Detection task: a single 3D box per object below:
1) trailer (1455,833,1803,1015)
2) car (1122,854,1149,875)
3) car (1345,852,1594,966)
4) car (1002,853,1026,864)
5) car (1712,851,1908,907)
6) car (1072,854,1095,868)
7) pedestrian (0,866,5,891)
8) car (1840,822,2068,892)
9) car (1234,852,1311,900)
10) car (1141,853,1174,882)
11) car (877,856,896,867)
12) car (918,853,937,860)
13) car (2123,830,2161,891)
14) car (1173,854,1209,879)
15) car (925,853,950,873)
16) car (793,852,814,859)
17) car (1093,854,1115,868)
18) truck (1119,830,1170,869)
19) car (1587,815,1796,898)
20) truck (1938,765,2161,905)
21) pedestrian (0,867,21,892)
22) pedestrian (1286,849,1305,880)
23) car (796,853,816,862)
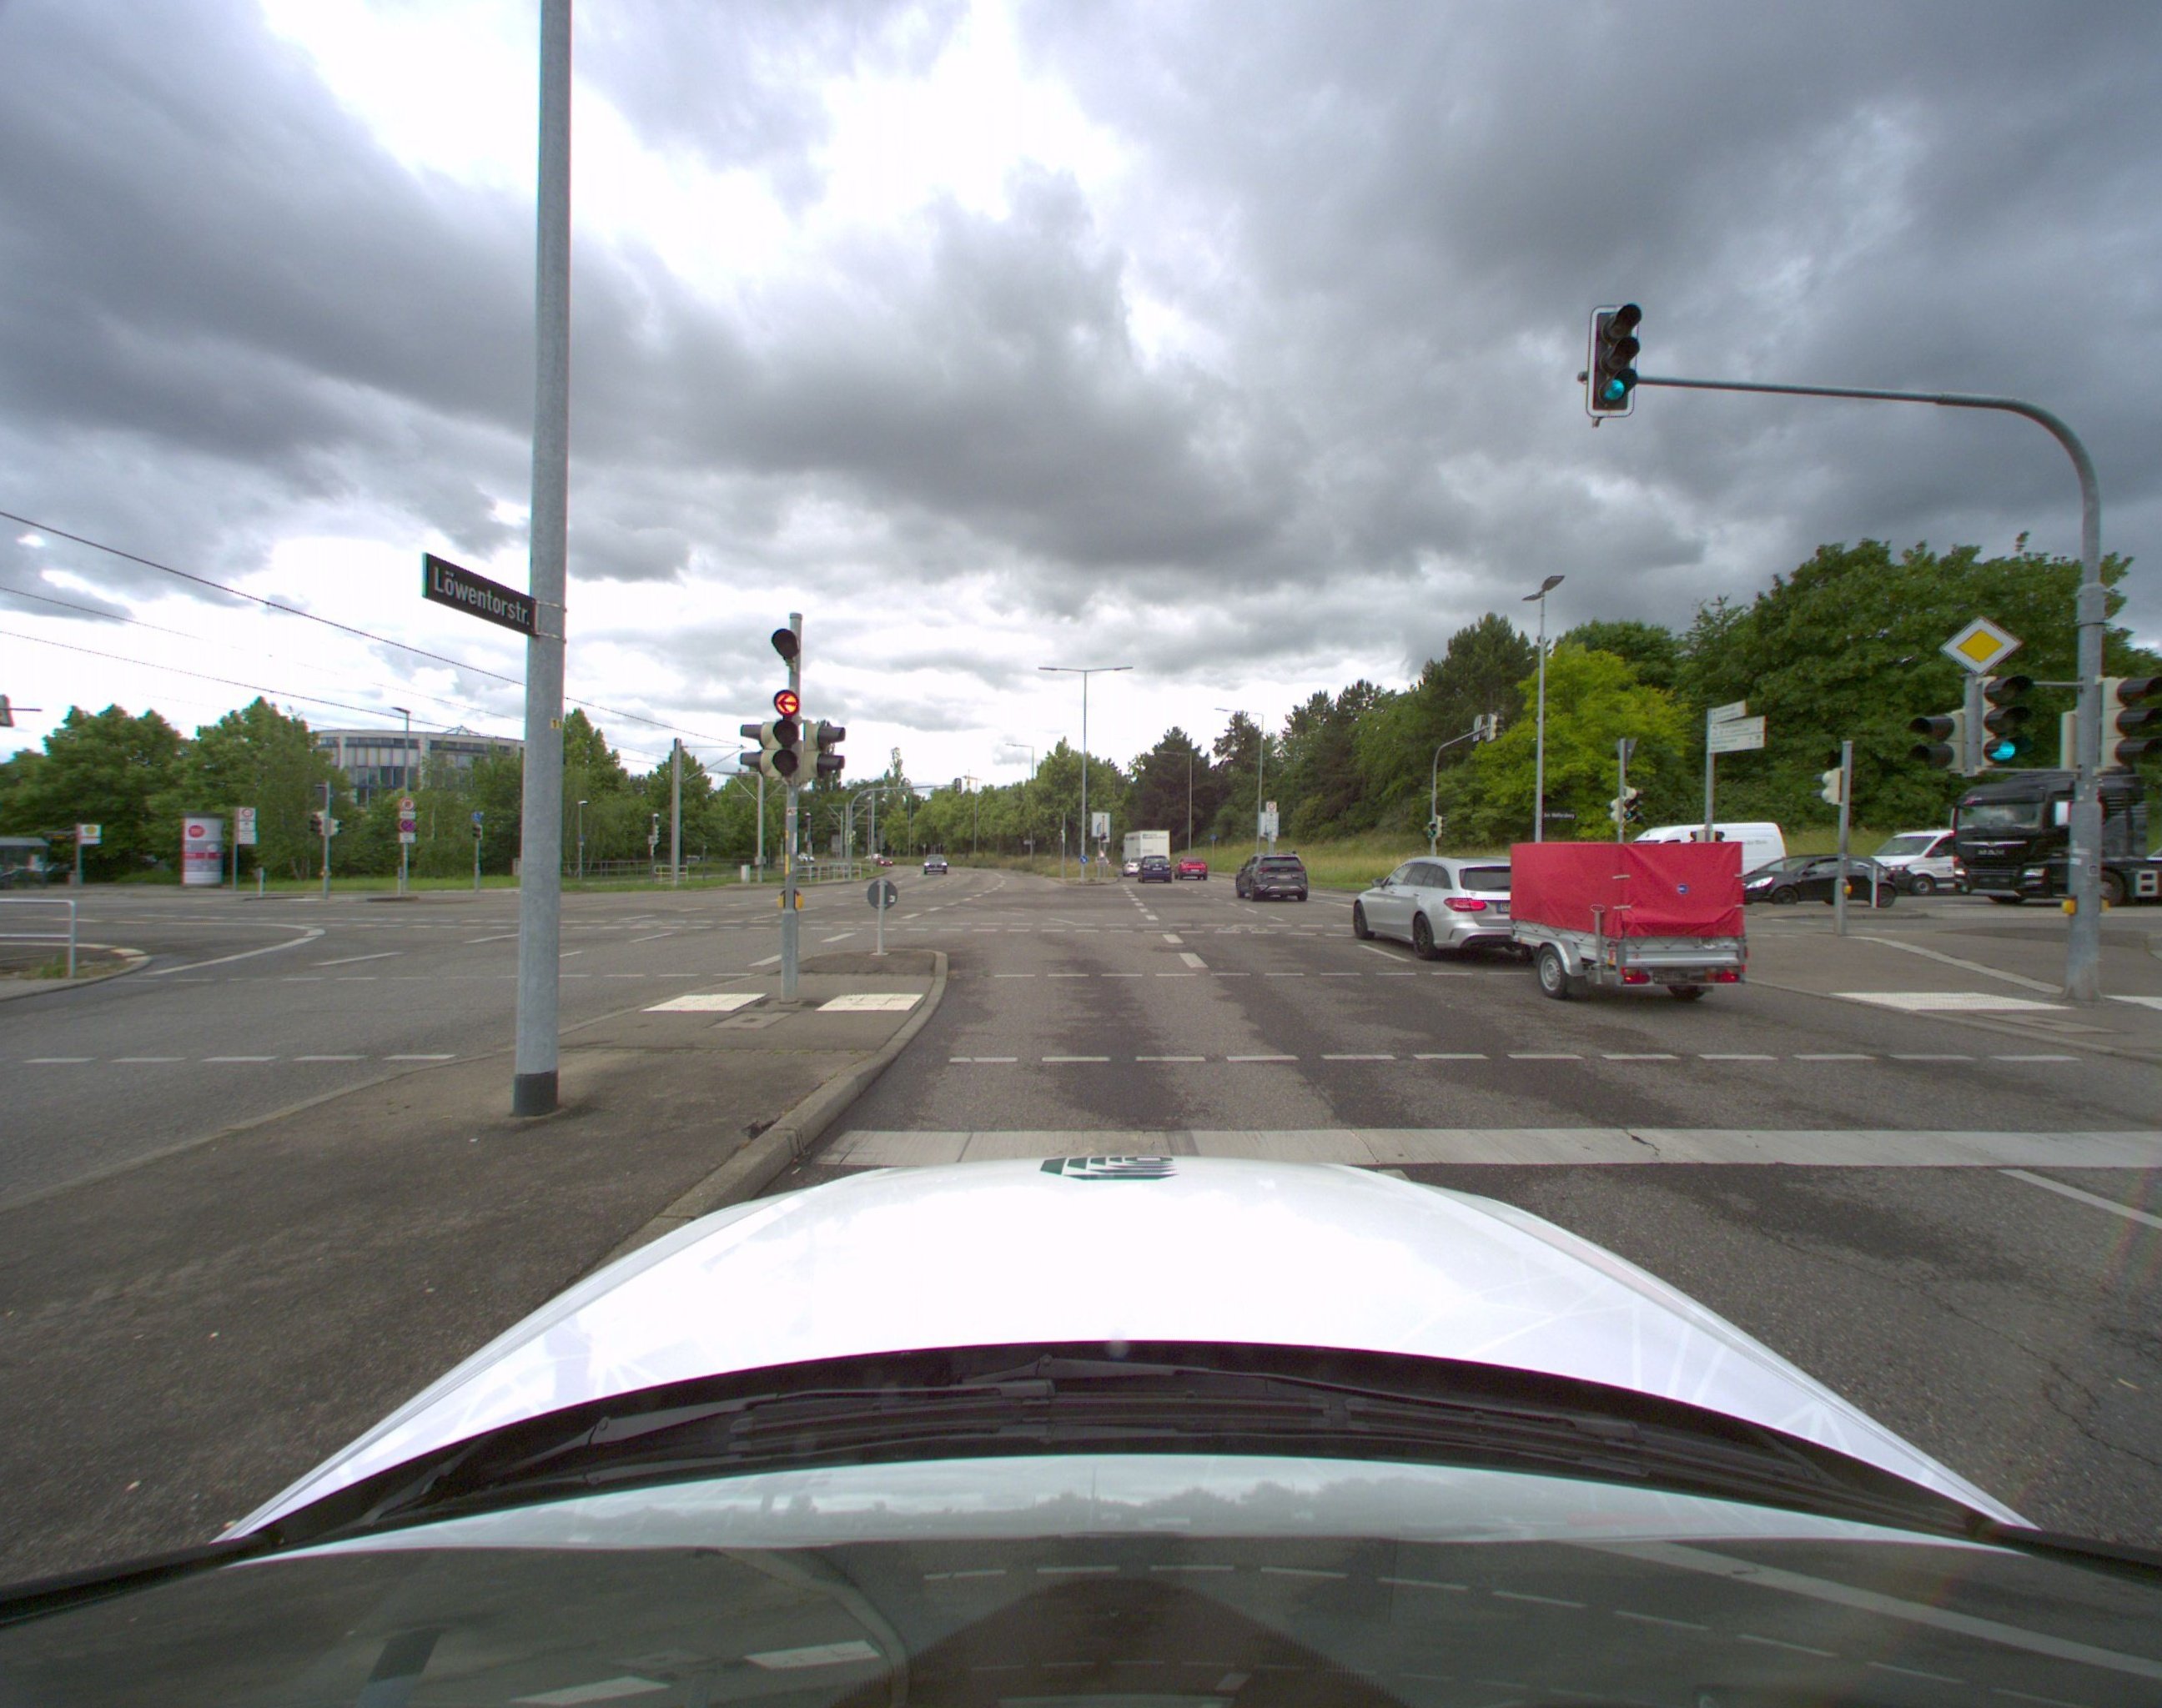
[{"bbox_3d":[5.616,0.619,8.830,1.759,1.616,3.044,0,0,0],"label":"trailer"},{"bbox_3d":[4.125,0.786,61.934,1.772,1.546,4.025,0,0,1],"label":"car"},{"bbox_3d":[5.654,0.692,12.564,1.772,1.421,4.459,0,0,1],"label":"car"},{"bbox_3d":[-10.237,0.672,124.386,1.792,1.546,3.980,-1,0,-37],"label":"car"},{"bbox_3d":[20.273,0.669,22.774,3.905,1.436,1.732,-1,0,1],"label":"car"},{"bbox_3d":[0.259,0.845,99.674,1.782,1.546,4.002,-1,0,-17],"label":"car"},{"bbox_3d":[-57.686,1.298,43.077,0.774,1.303,0.666,0,0,15],"label":"pedestrian"},{"bbox_3d":[30.675,0.109,28.765,5.677,2.289,2.136,-1,0,2],"label":"car"},{"bbox_3d":[6.596,0.716,28.486,1.772,1.546,4.025,0,0,1],"label":"car"},{"bbox_3d":[4.346,0.757,46.935,1.770,1.546,4.029,0,0,4],"label":"car"},{"bbox_3d":[-28.482,1.092,119.339,1.790,1.443,4.388,-1,0,-26],"label":"car"},{"bbox_3d":[-33.596,0.574,177.877,1.761,1.546,4.050,0,0,32],"label":"car"},{"bbox_3d":[36.264,0.156,25.401,4.836,1.896,2.034,-1,0,1],"label":"car"},{"bbox_3d":[7.154,0.805,53.324,1.772,1.546,4.024,0,0,0],"label":"car"},{"bbox_3d":[-11.818,0.739,67.196,1.776,1.546,4.214,0,0,-7],"label":"car"},{"bbox_3d":[-59.233,0.343,173.946,4.469,1.446,1.798,0,2,32],"label":"car"},{"bbox_3d":[2.511,0.745,89.016,1.777,1.546,4.013,0,0,-8],"label":"car"},{"bbox_3d":[5.626,-0.419,74.659,2.736,3.328,11.384,0,0,-6],"label":"truck"},{"bbox_3d":[21.890,0.095,29.410,5.870,2.781,2.136,-1,0,2],"label":"car"},{"bbox_3d":[27.927,-0.516,22.271,6.027,3.538,2.729,-1,0,2],"label":"truck"},{"bbox_3d":[-56.445,1.328,42.793,0.774,1.304,0.666,0,0,15],"label":"pedestrian"},{"bbox_3d":[11.390,0.551,43.344,0.811,1.627,0.791,0,0,1],"label":"pedestrian"},{"bbox_3d":[-51.690,0.728,153.047,1.845,1.629,4.371,-1,0,-44],"label":"car"}]
